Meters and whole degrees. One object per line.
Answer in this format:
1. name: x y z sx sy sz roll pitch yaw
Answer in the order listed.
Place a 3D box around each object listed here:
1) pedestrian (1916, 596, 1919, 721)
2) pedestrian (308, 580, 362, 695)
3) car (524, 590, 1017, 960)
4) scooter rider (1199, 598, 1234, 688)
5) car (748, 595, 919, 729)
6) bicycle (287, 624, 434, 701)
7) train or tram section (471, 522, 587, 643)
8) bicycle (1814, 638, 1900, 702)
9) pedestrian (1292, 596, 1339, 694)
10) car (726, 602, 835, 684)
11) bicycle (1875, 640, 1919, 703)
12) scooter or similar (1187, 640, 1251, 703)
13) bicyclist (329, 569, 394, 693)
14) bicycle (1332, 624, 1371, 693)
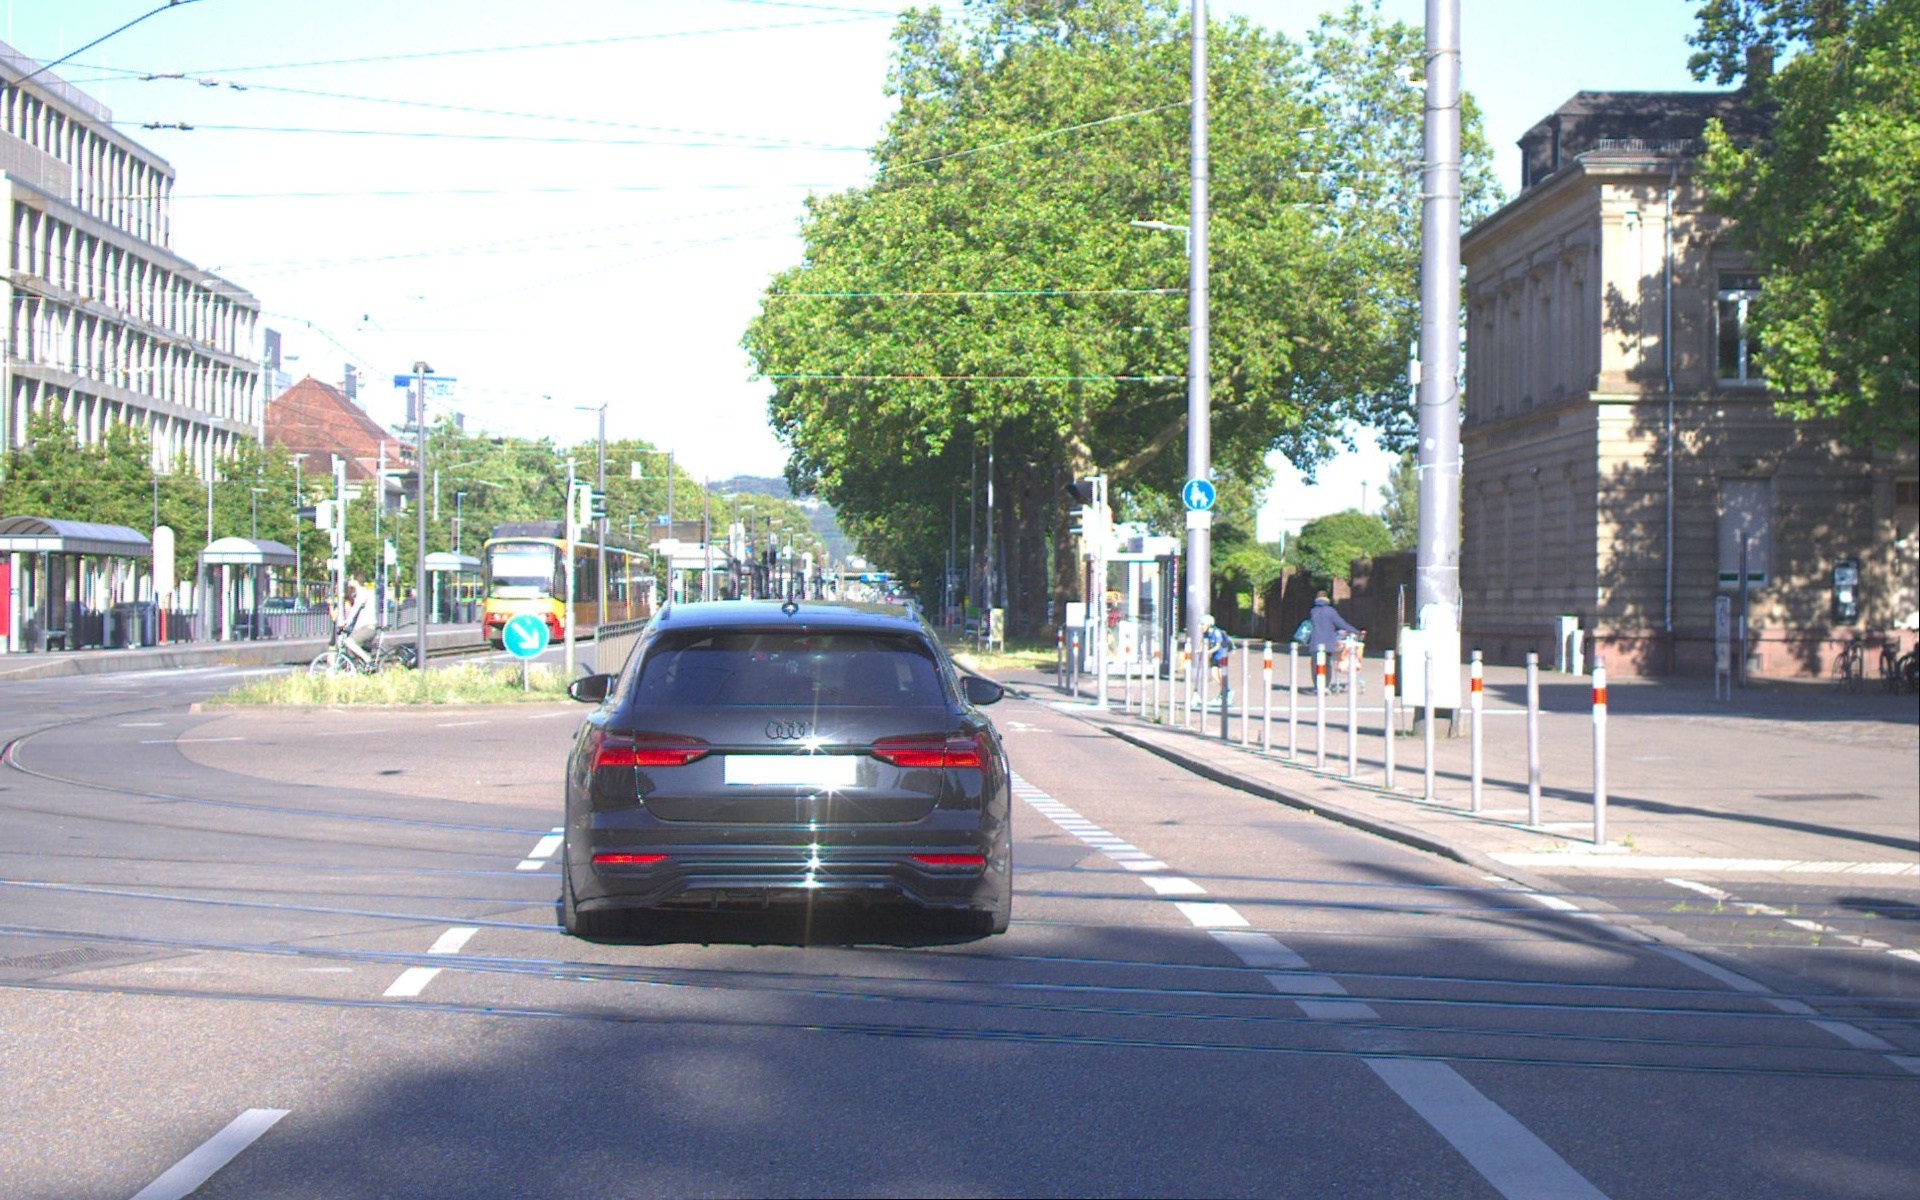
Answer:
1. pedestrian: 14.810 0.876 50.911 0.978 1.859 0.827 0 0 -13
2. pedestrian: -9.487 0.564 52.206 0.739 1.735 0.664 0 0 -15
3. car: -0.766 0.704 15.519 1.902 1.417 4.144 1 -1 -1
4. scooter rider: 3.935 0.661 52.753 0.484 1.381 0.377 0 -1 -3
5. car: -1.451 0.719 40.756 1.902 1.481 4.144 1 -1 -1
6. bicycle: -8.805 0.916 50.507 2.005 1.104 0.765 0 0 -24
7. train or tram section: -12.853 -0.508 103.311 2.608 3.439 11.133 0 0 -3
8. bicycle: 15.456 1.197 59.284 0.525 1.043 2.360 0 0 -9
9. pedestrian: 6.060 0.759 58.678 0.682 1.655 0.758 0 0 -3
10. car: -3.392 0.807 65.566 1.902 1.481 4.144 1 -1 -1
11. bicycle: 16.521 1.234 59.277 0.525 1.043 2.360 0 0 -9
12. scooter or similar: 3.973 1.095 52.744 0.938 0.963 0.361 -1 -1 -3
13. bicyclist: -8.803 0.451 50.549 0.756 1.812 0.765 0 0 -24
14. bicycle: 6.681 0.995 58.711 0.434 1.141 1.340 0 0 -3
